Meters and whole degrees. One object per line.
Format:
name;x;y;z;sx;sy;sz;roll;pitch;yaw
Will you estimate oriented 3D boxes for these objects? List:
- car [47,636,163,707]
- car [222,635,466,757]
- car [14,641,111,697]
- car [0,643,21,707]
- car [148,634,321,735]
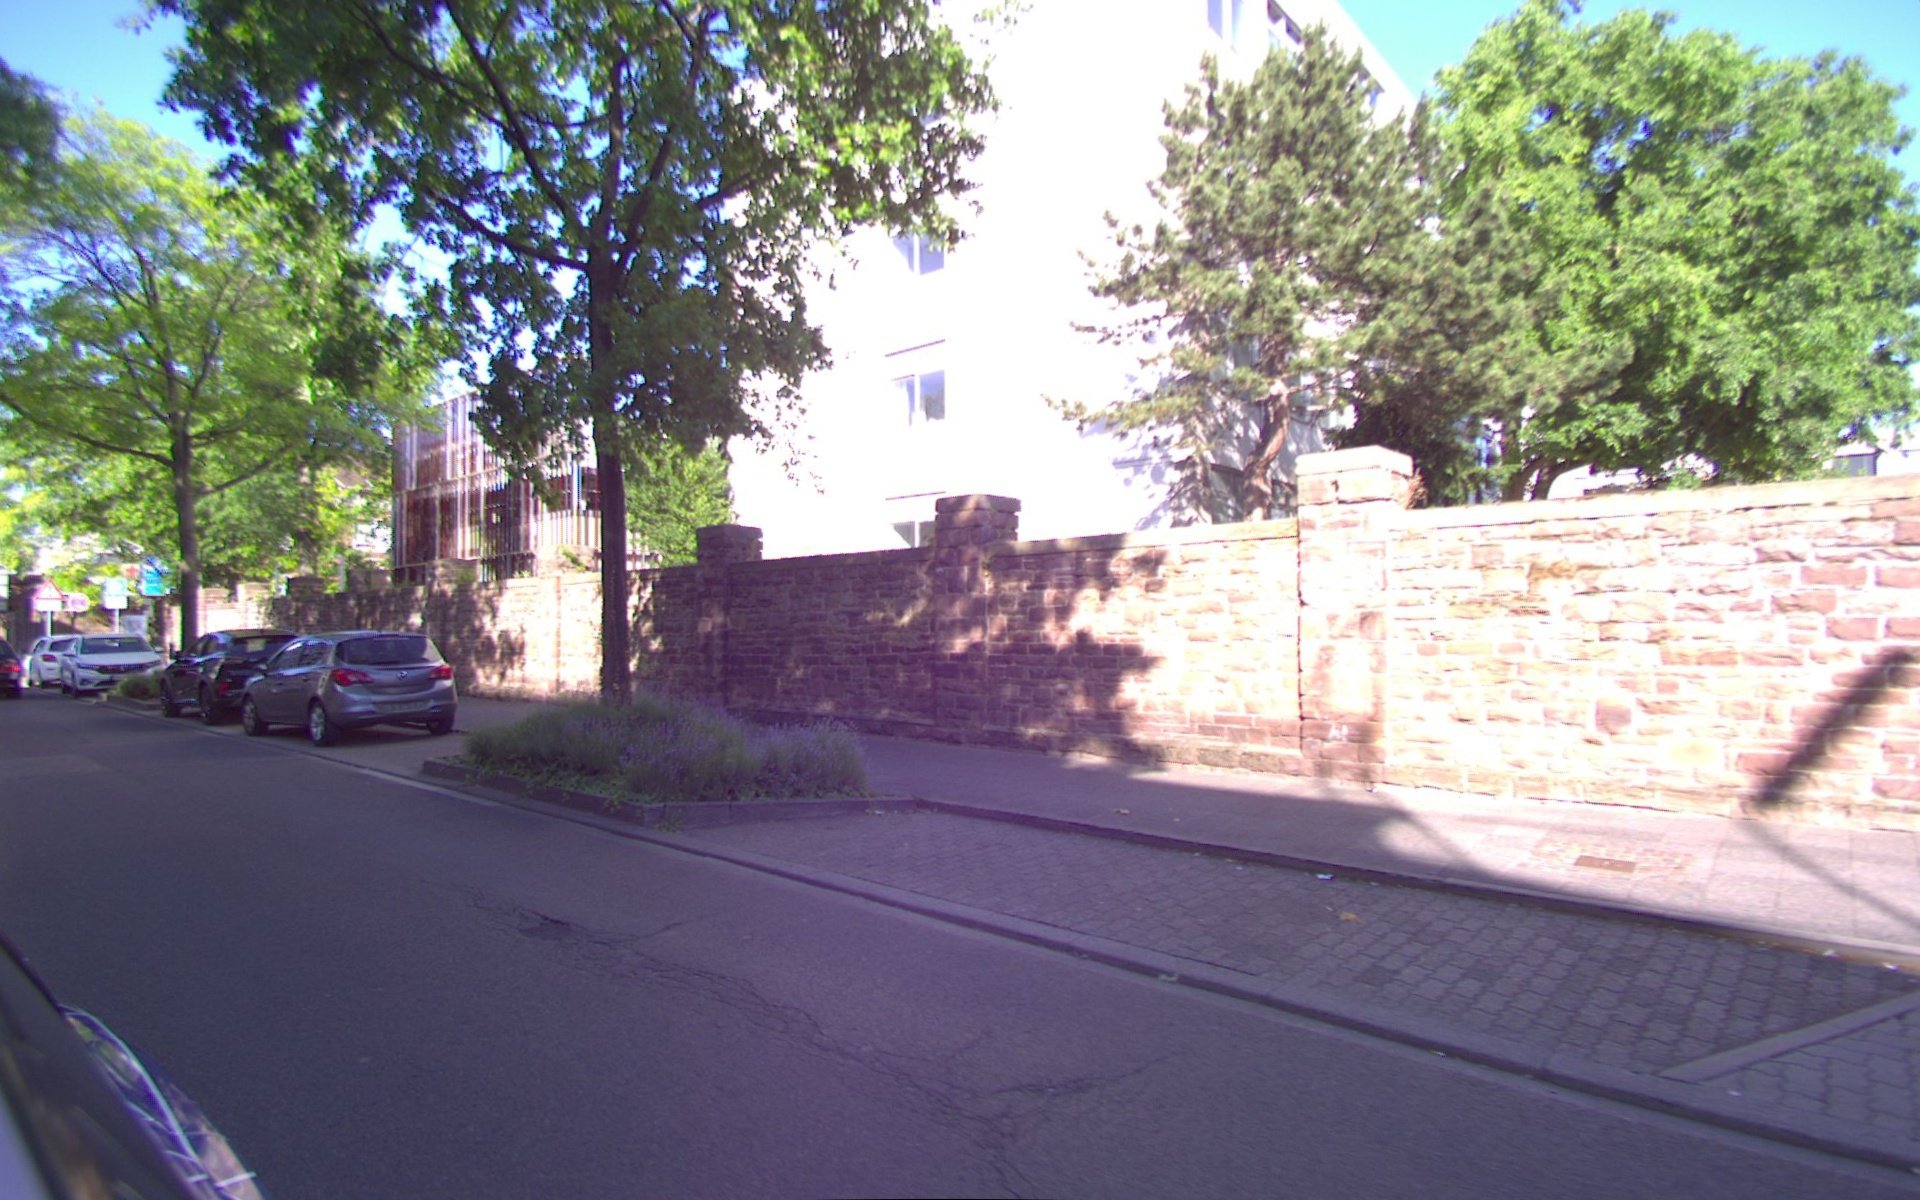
car;-21.362;1.734;25.249;3.848;1.522;1.659;-2;1;42
car;-8.814;1.264;14.377;3.832;1.432;1.671;-2;0;37
car;-26.172;1.955;29.470;3.748;1.412;1.558;-2;1;41
car;-23.587;1.728;23.785;3.968;1.447;1.802;-3;-5;42
car;-12.747;1.390;17.686;4.042;1.526;1.557;-2;-2;41
